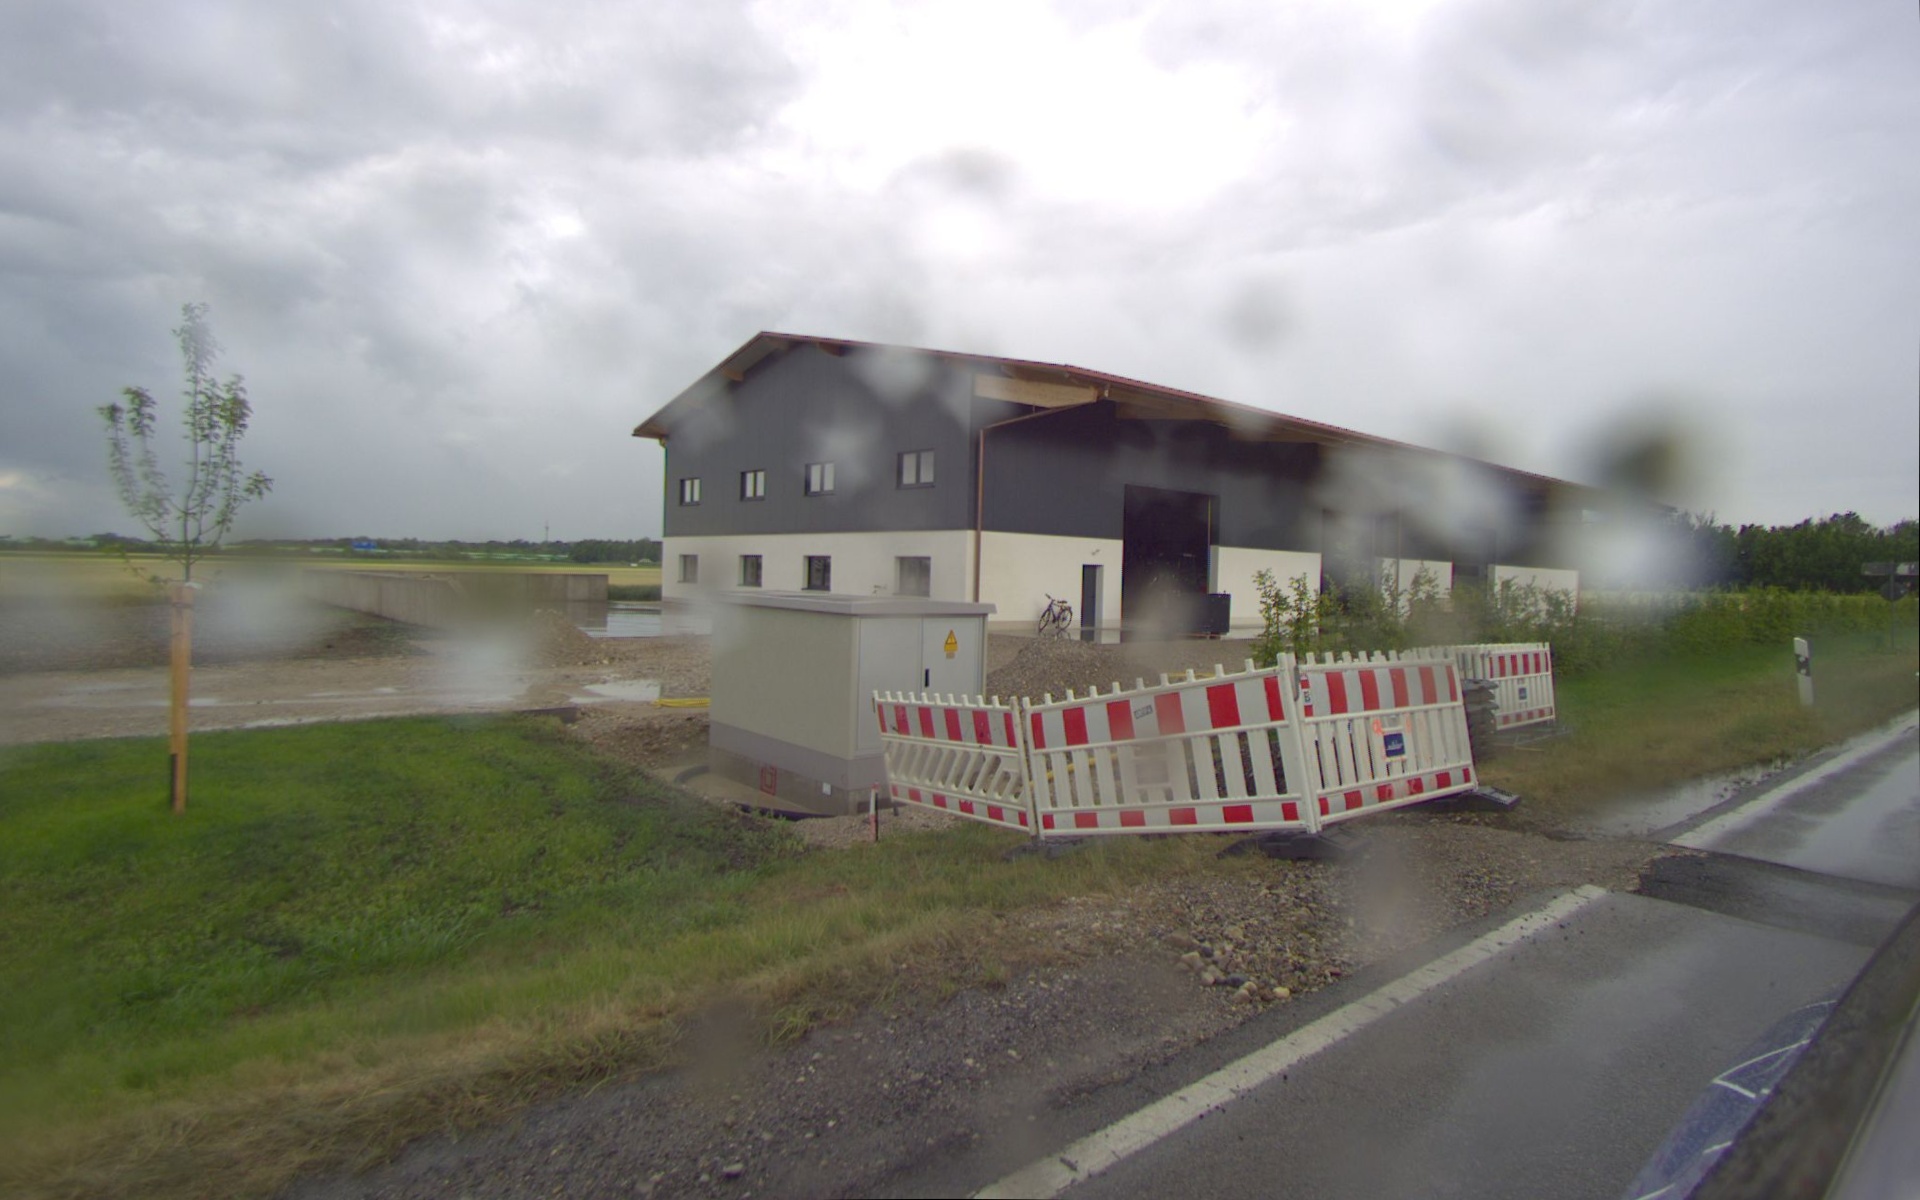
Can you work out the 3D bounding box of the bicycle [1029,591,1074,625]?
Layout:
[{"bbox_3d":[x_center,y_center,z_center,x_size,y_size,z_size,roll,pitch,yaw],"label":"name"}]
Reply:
[{"bbox_3d":[2.980,0.244,32.815,1.631,1.085,0.391,0,2,-41],"label":"bicycle"}]

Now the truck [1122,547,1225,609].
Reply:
[{"bbox_3d":[11.071,-1.136,52.315,5.250,3.050,2.495,0,2,-41],"label":"truck"}]

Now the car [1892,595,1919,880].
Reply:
[{"bbox_3d":[6.983,0.659,5.858,4.489,1.404,1.841,-1,0,-41],"label":"car"}]
